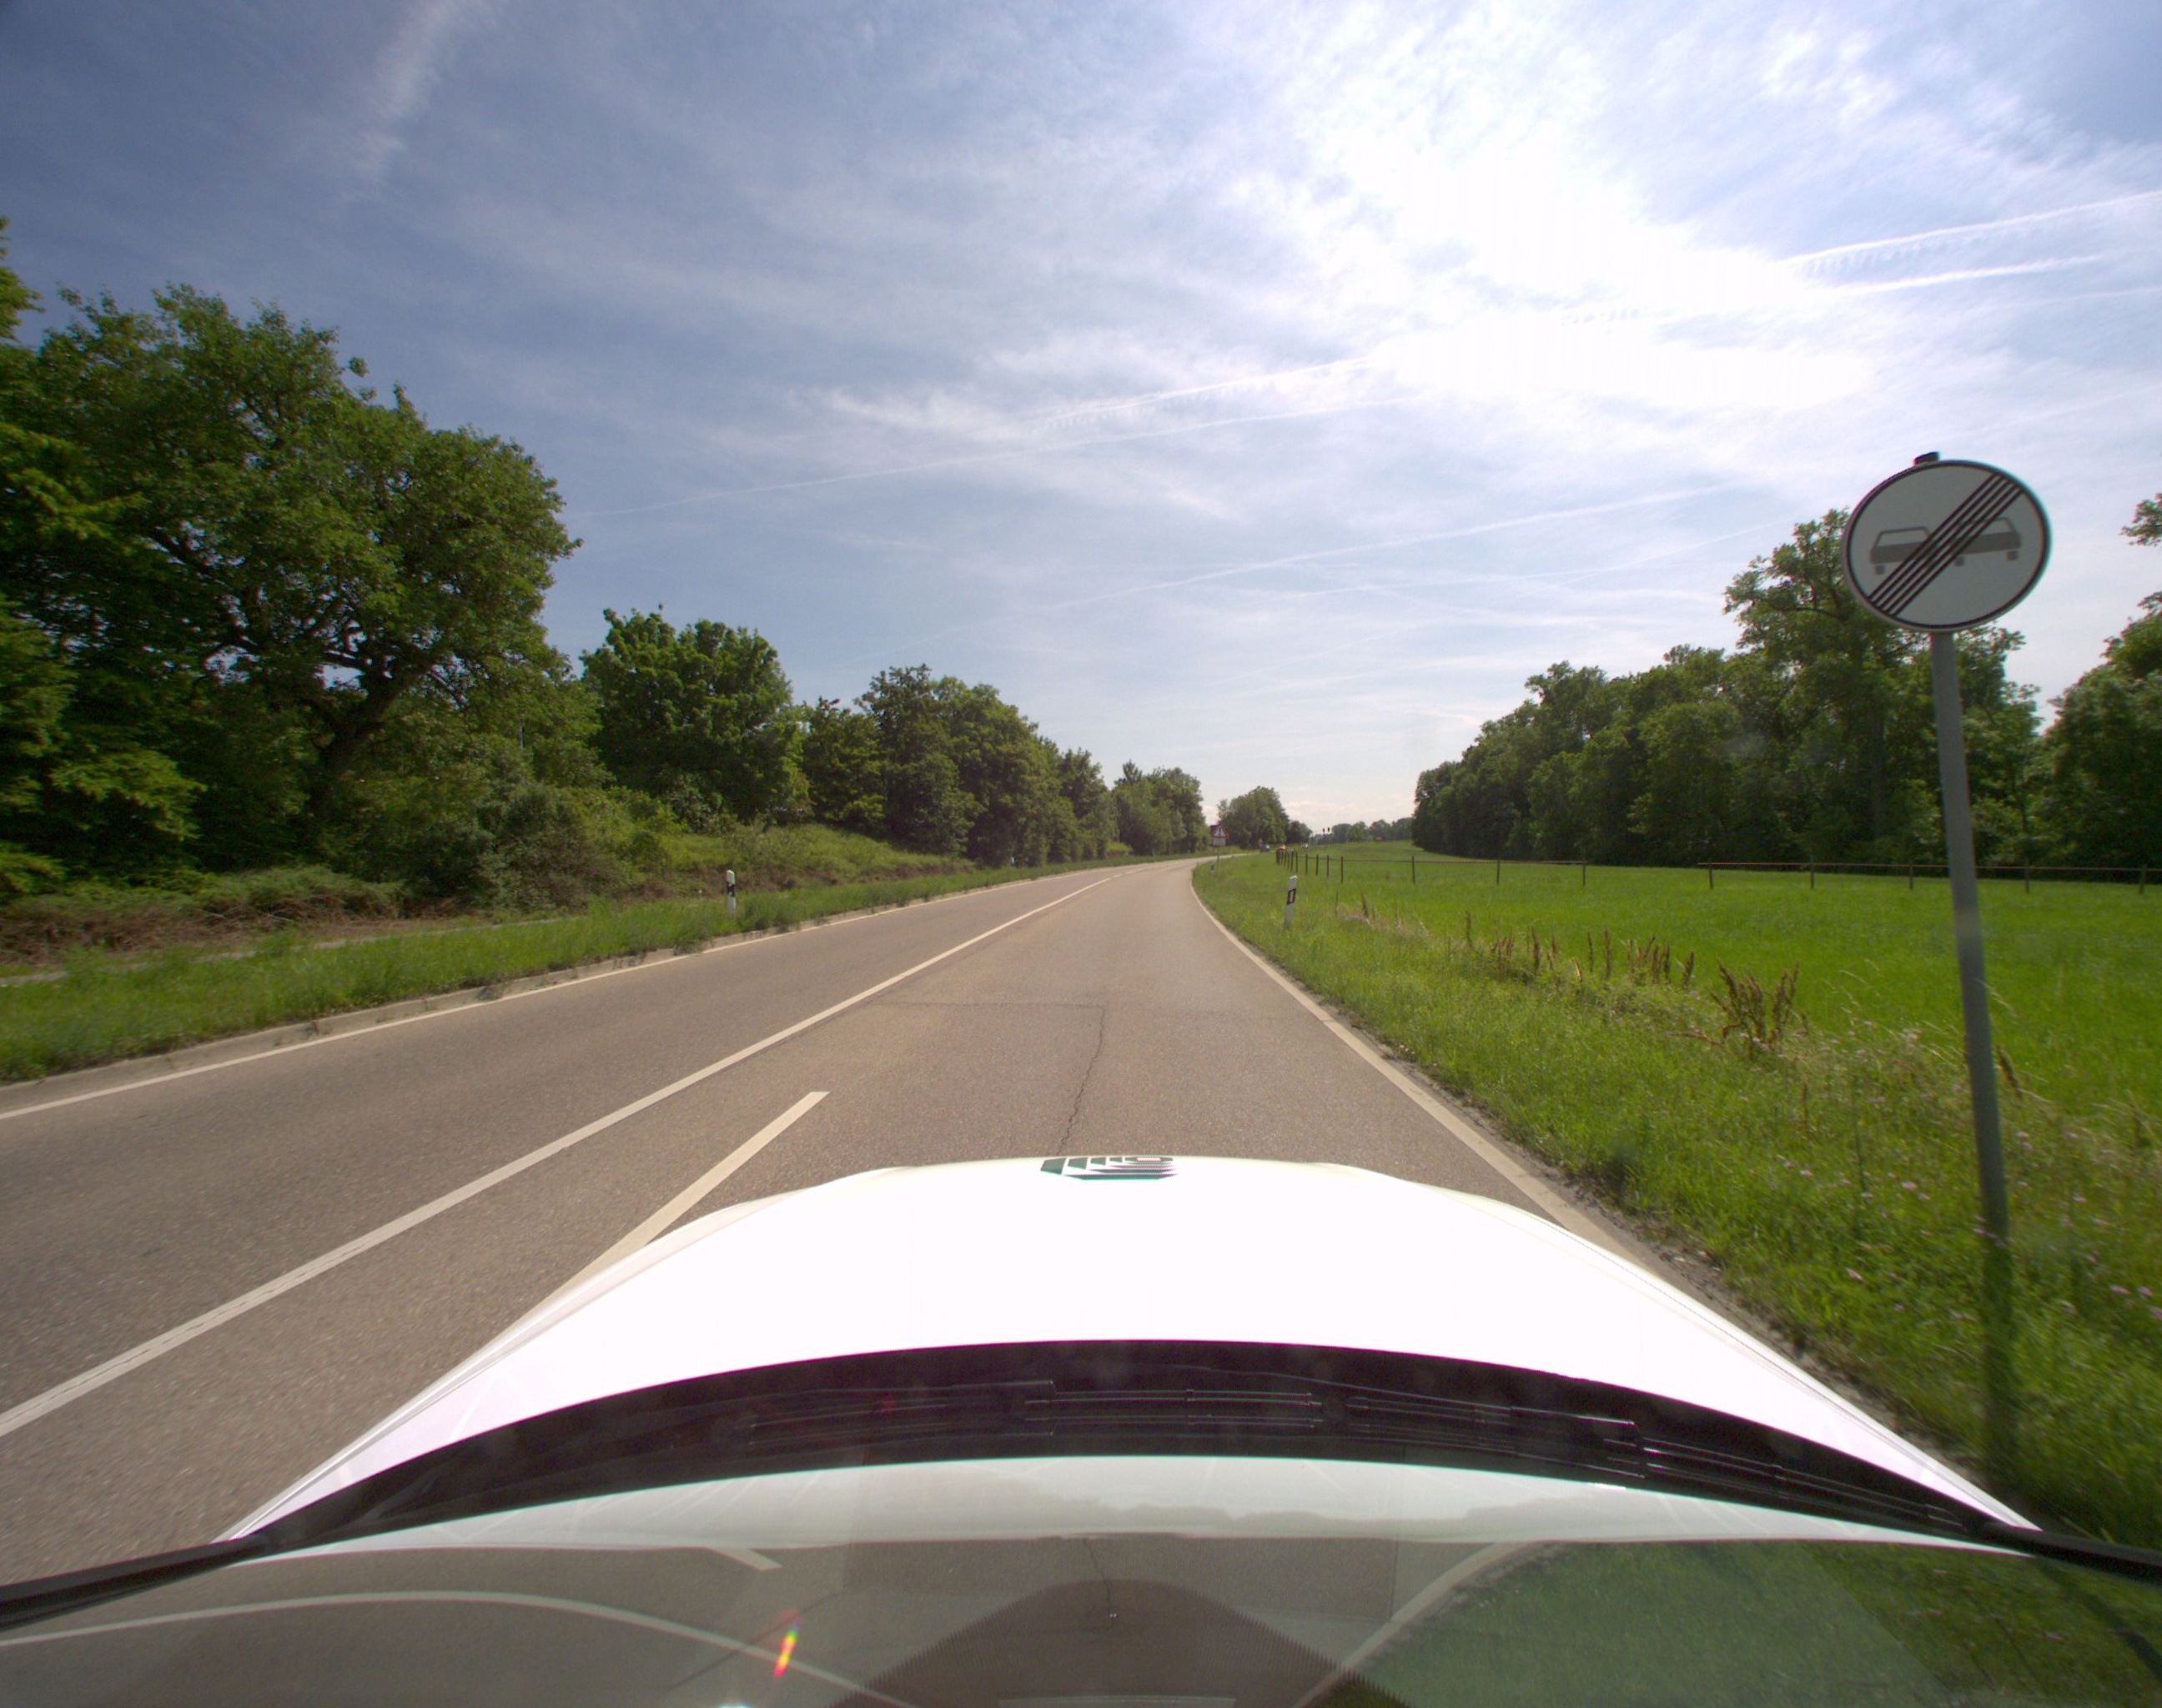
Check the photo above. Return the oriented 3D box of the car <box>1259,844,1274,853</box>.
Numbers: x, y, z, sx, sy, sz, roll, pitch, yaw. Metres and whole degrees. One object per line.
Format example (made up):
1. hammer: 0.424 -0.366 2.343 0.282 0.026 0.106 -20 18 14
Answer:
1. car: 35.124 -1.028 153.998 1.976 1.574 4.022 -1 1 23

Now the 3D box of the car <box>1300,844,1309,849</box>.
1. car: 67.264 -2.185 244.941 1.804 1.468 4.023 0 1 25

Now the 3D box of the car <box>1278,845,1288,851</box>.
1. car: 49.904 -1.416 201.431 1.805 1.468 4.023 0 1 24
